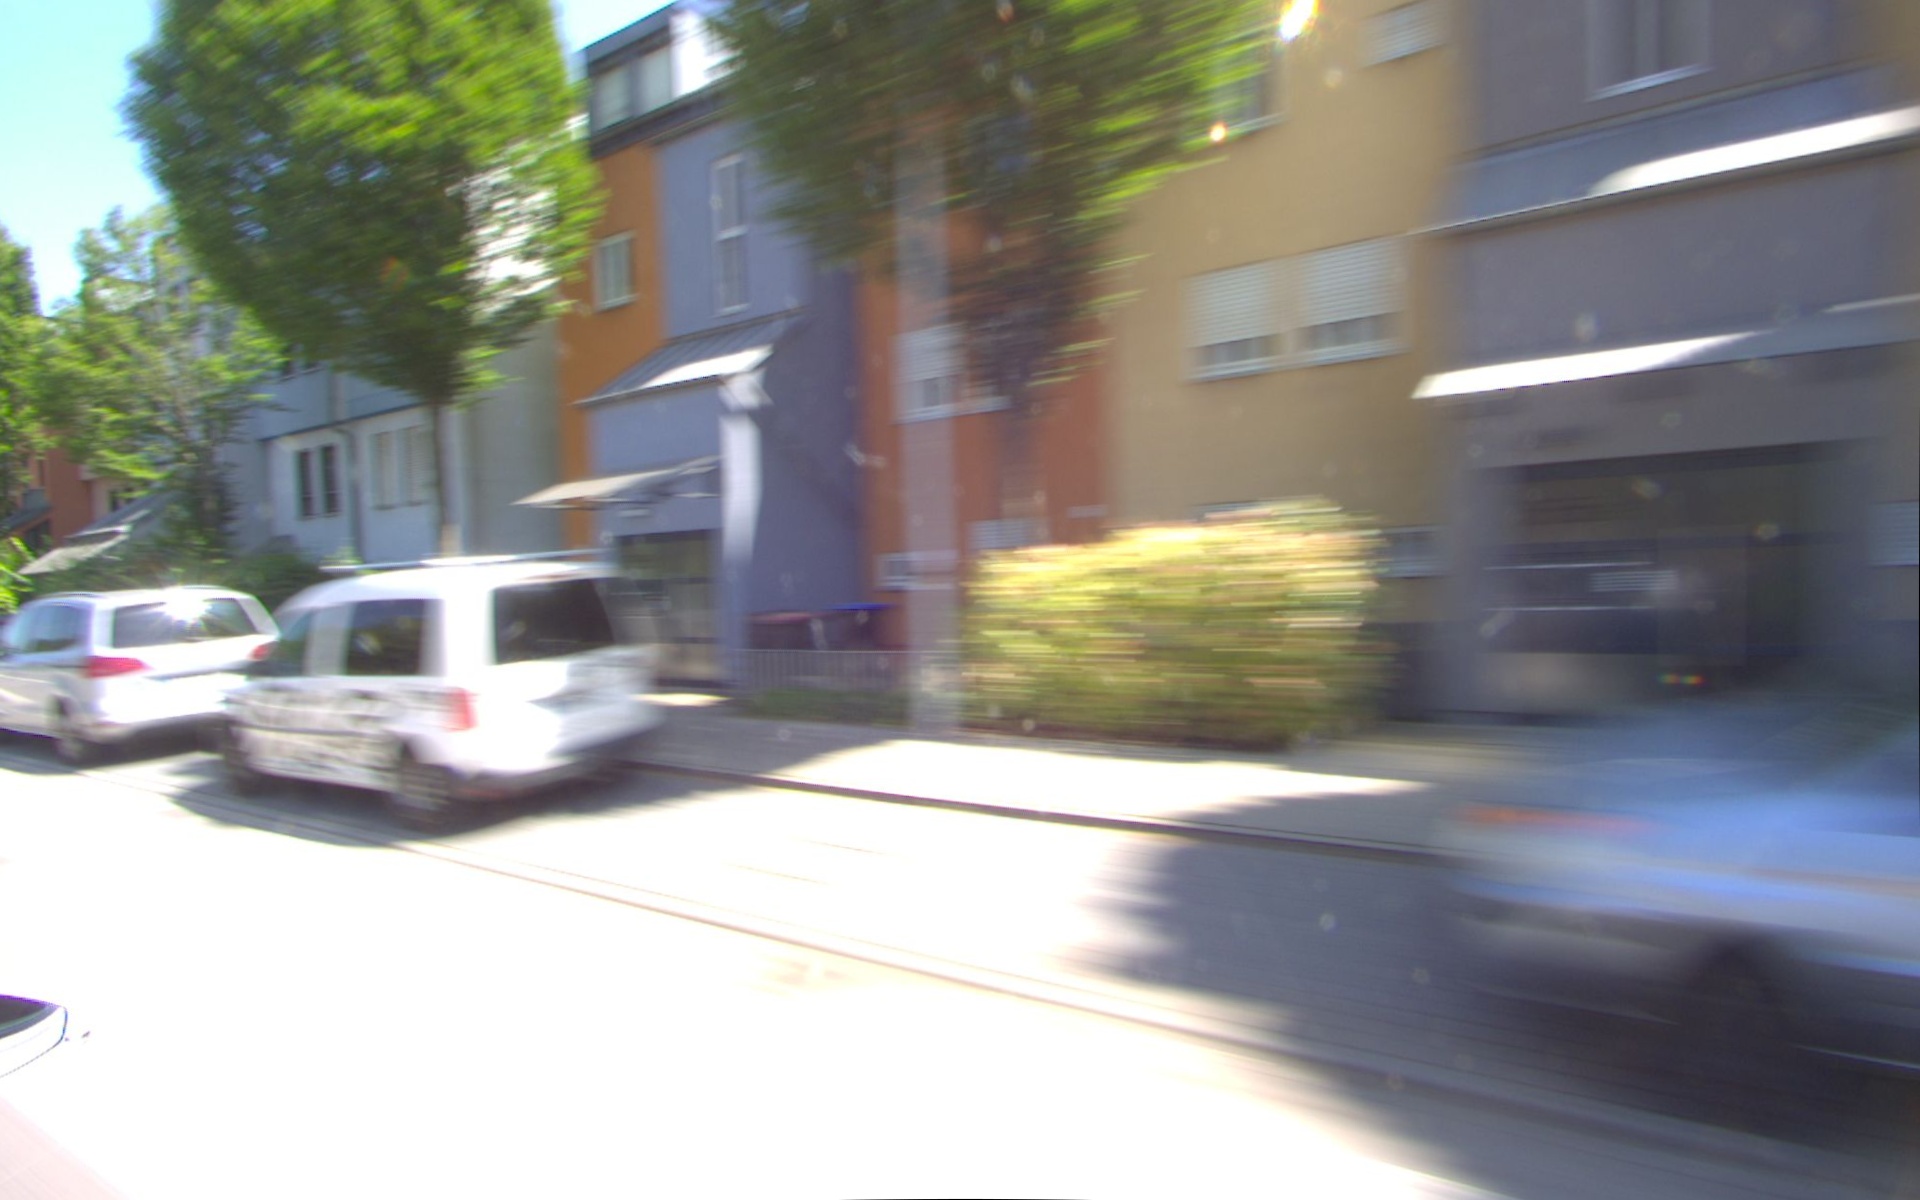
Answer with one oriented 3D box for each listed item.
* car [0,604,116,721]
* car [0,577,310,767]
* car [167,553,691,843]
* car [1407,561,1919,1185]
[{"bbox_3d":[-14.104,0.852,14.447,4.118,1.443,1.580,-1,4,31],"label":"car"},{"bbox_3d":[-9.677,0.686,11.551,4.711,1.718,1.834,0,4,34],"label":"car"},{"bbox_3d":[-4.491,0.617,8.329,4.290,1.819,1.835,0,4,32],"label":"car"},{"bbox_3d":[3.676,0.685,2.828,4.158,1.551,1.834,0,4,35],"label":"car"}]
